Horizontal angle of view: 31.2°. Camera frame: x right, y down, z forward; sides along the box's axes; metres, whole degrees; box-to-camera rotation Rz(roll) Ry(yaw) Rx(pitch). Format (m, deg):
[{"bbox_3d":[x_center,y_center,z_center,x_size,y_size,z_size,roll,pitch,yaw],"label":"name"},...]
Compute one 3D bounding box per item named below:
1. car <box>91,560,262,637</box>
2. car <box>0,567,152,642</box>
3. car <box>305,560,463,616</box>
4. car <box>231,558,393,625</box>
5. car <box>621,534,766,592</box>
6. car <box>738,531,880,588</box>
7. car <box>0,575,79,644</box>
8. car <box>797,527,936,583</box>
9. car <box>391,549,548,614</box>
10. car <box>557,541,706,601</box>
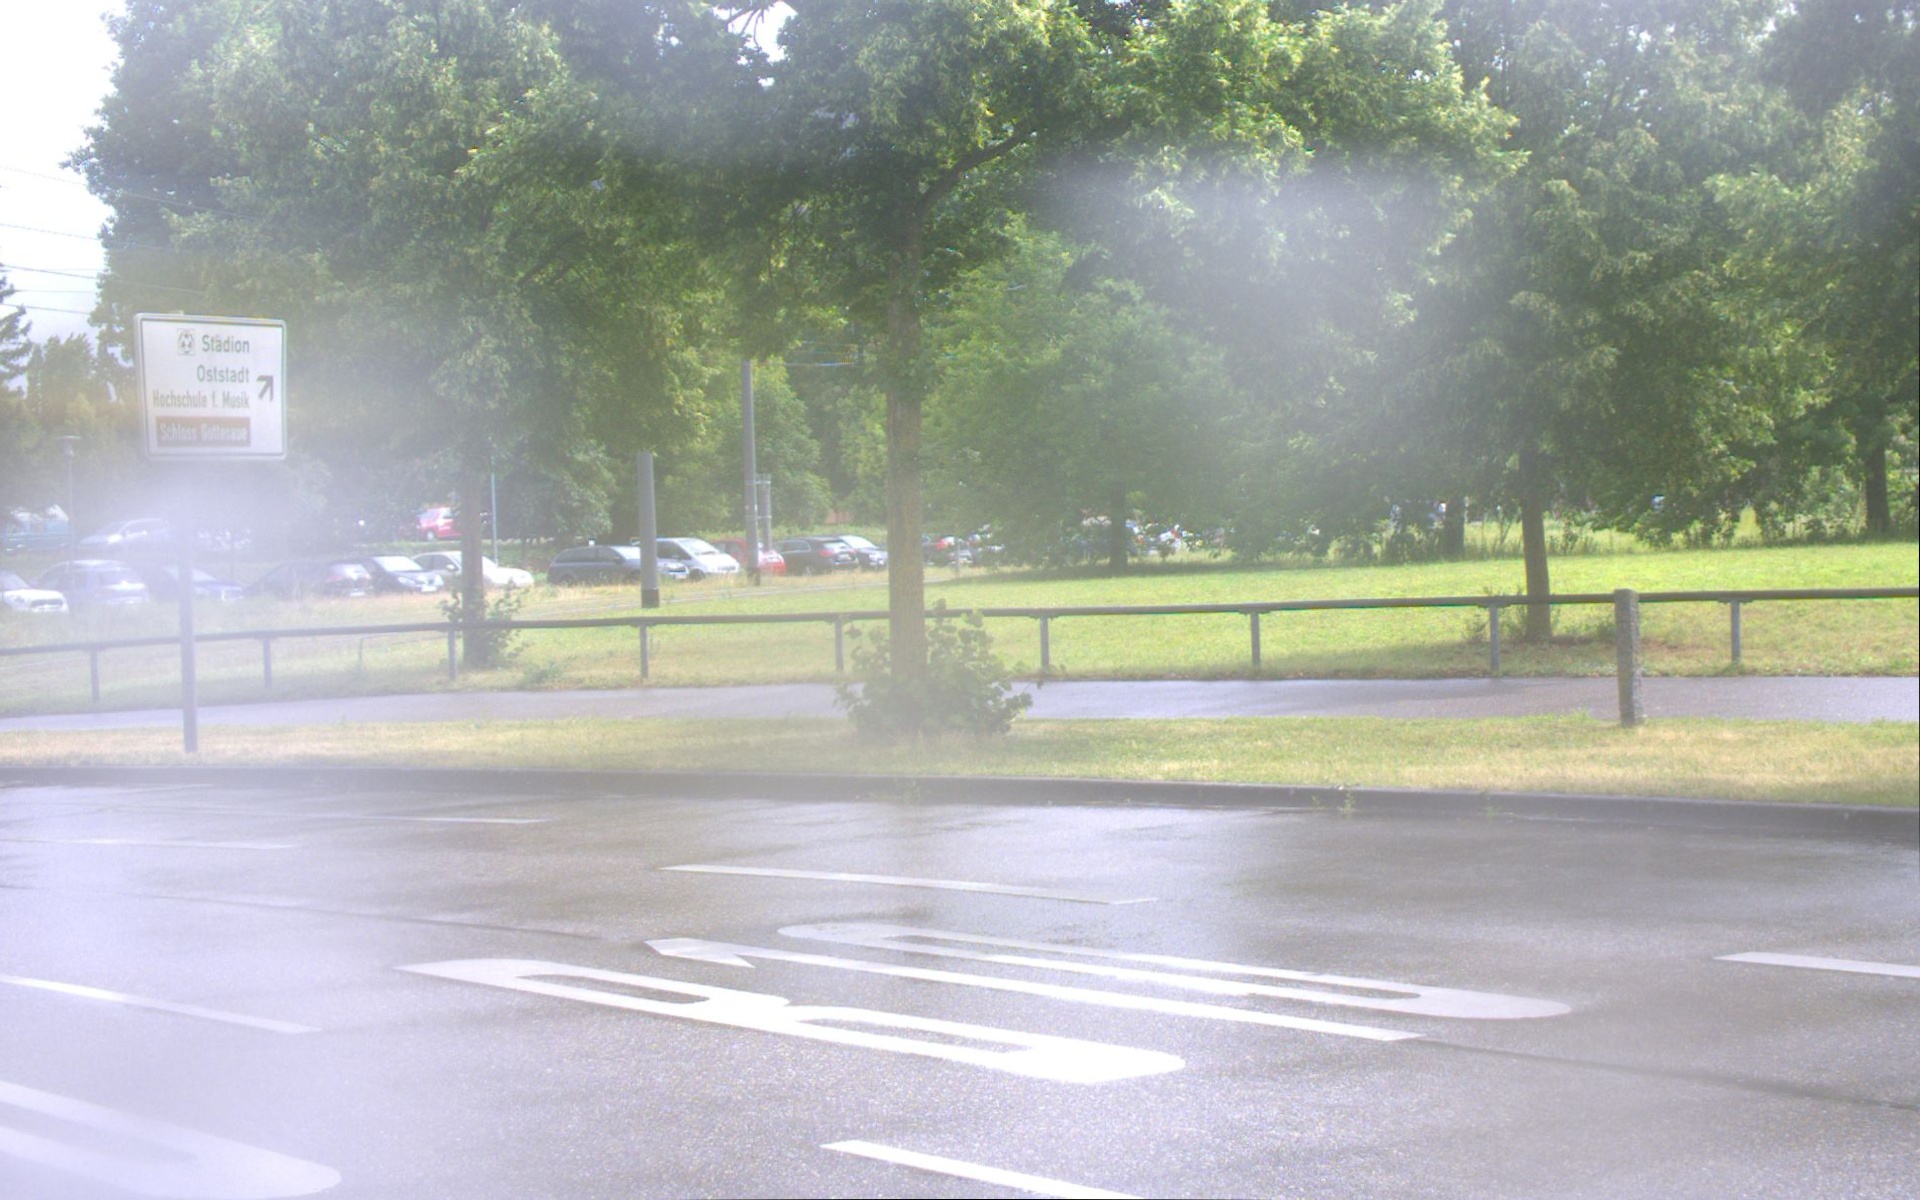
[{"bbox_3d":[-19.344,-0.029,84.830,3.995,1.708,1.996,-2,1,38],"label":"car"},{"bbox_3d":[-21.254,0.108,82.633,3.624,1.654,1.547,-2,1,37],"label":"car"},{"bbox_3d":[-15.223,-0.308,90.777,3.974,1.303,1.846,-2,1,37],"label":"car"},{"bbox_3d":[-16.688,-0.208,88.475,3.974,1.554,1.846,-2,1,37],"label":"car"},{"bbox_3d":[-7.886,-1.091,101.636,3.974,1.554,1.846,-2,1,37],"label":"car"},{"bbox_3d":[-4.579,-1.228,104.168,3.974,1.554,1.846,-2,1,37],"label":"car"},{"bbox_3d":[-22.739,0.261,80.798,3.995,1.522,1.795,-2,1,37],"label":"car"},{"bbox_3d":[-2.931,-1.394,107.288,3.974,1.554,1.846,-2,1,37],"label":"car"},{"bbox_3d":[-13.246,-0.494,92.747,3.974,1.554,1.846,-2,1,37],"label":"car"},{"bbox_3d":[-9.397,-0.827,98.302,3.974,1.554,1.846,-2,1,37],"label":"car"}]
